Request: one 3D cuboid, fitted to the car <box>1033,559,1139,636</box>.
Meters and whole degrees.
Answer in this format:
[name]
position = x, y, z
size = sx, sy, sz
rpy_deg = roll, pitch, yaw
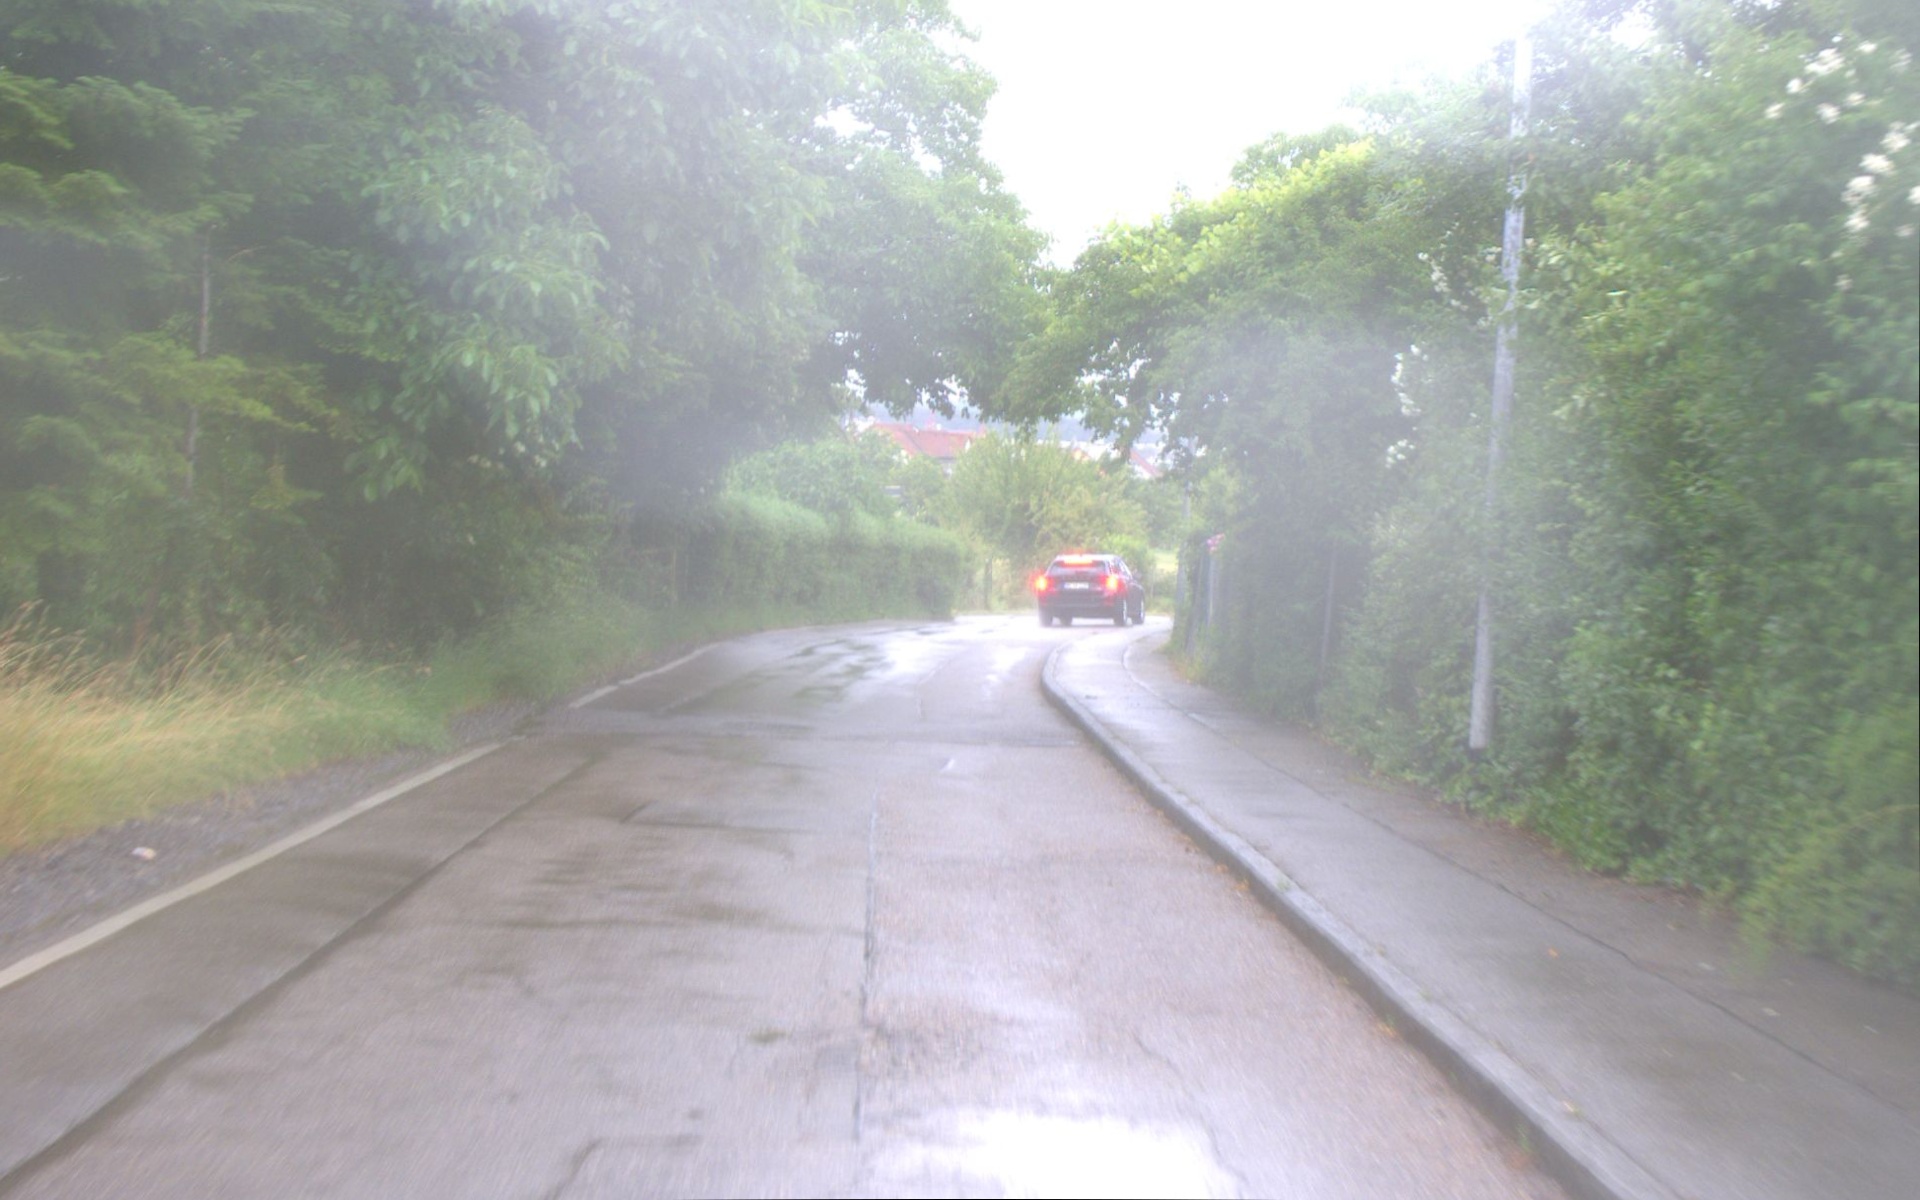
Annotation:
[car]
position = 2.608, -0.037, 70.621
size = 1.635, 1.445, 3.543
rpy_deg = 3, 0, 10
